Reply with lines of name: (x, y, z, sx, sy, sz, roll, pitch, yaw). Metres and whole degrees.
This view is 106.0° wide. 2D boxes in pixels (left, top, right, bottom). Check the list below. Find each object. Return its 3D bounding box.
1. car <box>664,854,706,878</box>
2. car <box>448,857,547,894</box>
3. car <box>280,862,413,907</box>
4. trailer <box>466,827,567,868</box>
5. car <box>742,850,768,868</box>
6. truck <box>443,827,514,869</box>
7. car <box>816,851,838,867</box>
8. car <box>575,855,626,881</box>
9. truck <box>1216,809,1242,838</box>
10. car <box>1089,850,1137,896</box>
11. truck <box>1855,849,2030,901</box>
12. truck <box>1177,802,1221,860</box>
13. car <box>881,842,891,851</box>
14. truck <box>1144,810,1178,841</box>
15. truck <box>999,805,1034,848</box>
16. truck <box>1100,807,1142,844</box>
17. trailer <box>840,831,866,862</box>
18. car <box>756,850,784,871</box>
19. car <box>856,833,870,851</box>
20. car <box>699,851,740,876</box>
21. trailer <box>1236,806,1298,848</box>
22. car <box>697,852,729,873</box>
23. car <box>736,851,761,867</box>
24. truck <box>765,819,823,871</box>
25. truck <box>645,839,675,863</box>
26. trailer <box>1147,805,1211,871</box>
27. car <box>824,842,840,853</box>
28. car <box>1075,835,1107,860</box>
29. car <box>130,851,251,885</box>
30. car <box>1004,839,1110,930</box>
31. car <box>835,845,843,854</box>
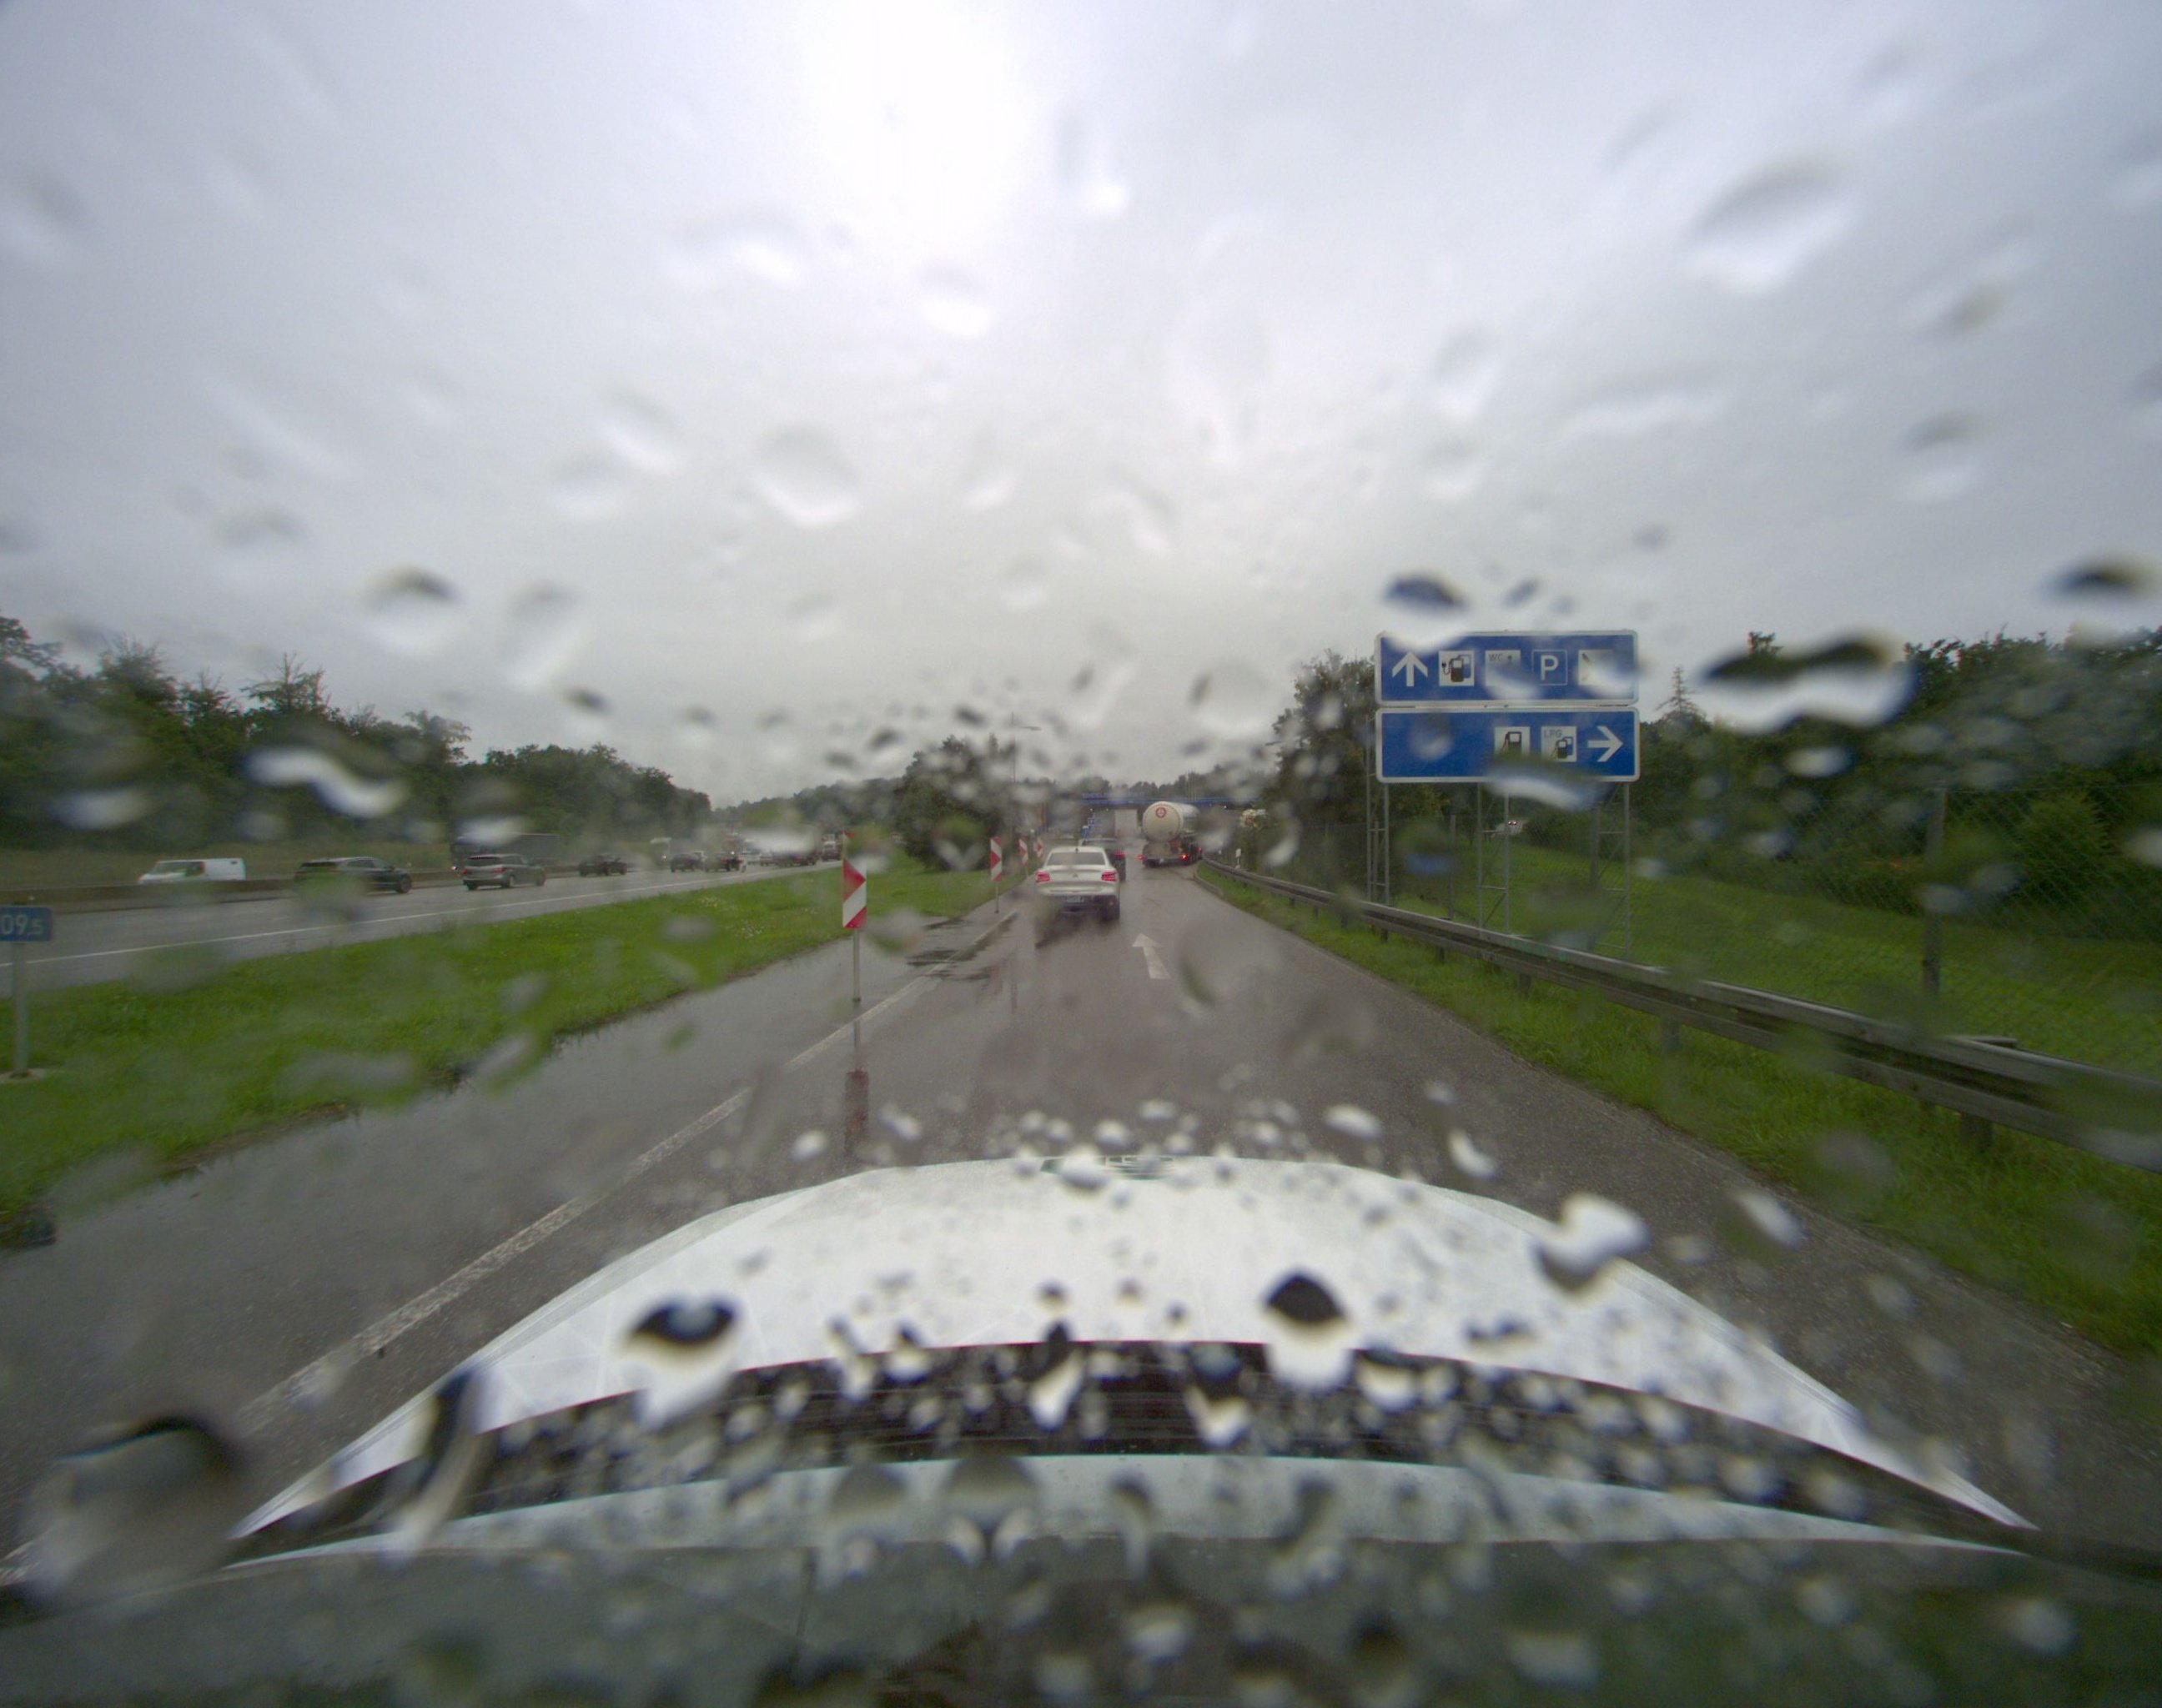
car: (-31.519, 0.957, 64.958, 1.775, 1.736, 4.088, -3, 1, -9)
car: (-26.985, 0.969, 37.882, 1.786, 1.526, 4.325, -2, 0, -6)
car: (-29.927, 1.196, 33.407, 1.716, 1.574, 4.450, -2, 0, -6)
trailer: (-56.765, -0.704, 82.540, 3.028, 3.811, 13.364, 0, 1, -10)
car: (-37.114, 0.540, 92.805, 1.994, 2.013, 3.986, 0, 0, -10)
truck: (-55.506, -0.593, 75.181, 3.042, 3.746, 5.626, 0, 1, -10)
car: (-29.972, 0.546, 96.164, 1.994, 1.816, 3.986, 0, 0, -10)
car: (-34.746, 0.980, 59.011, 1.775, 1.736, 4.087, -2, 0, -9)
truck: (19.895, -4.090, 109.735, 2.420, 3.805, 3.996, -2, 2, -3)
car: (1.303, 0.715, 32.446, 1.735, 1.667, 4.003, 1, 0, 3)
truck: (54.039, 1.202, 51.509, 2.812, 2.660, 8.280, 5, 2, 6)
truck: (7.617, -1.486, 52.324, 2.037, 3.530, 4.768, 0, 2, 17)
car: (-46.941, -1.813, 196.035, 1.998, 2.014, 3.978, 2, 0, -16)
truck: (11.168, -4.005, 115.031, 3.230, 4.187, 8.428, 0, 2, -6)
truck: (-6.224, -2.611, 78.027, 2.913, 3.903, 6.300, -1, 2, -8)
truck: (4.387, -3.182, 92.977, 2.369, 3.873, 12.422, -2, 2, -8)
trailer: (-36.505, -1.088, 130.577, 3.554, 4.612, 12.059, -2, 0, -14)
car: (-30.793, 0.630, 80.785, 1.789, 1.971, 4.319, -1, 0, -11)
car: (-42.853, -2.315, 160.177, 2.376, 3.485, 4.791, 2, 0, -14)
car: (-26.660, 0.695, 60.117, 1.775, 1.736, 3.835, -2, 0, -9)
trailer: (16.722, -2.448, 72.531, 2.111, 3.440, 10.319, 0, 2, 32)
car: (-38.042, 0.880, 84.375, 1.993, 2.013, 3.987, -2, 0, -10)
car: (-42.596, 0.622, 104.407, 1.994, 2.013, 3.986, -2, 0, -10)
truck: (-25.683, -0.734, 73.570, 2.849, 4.292, 11.802, -2, 0, -10)
truck: (-67.164, -0.499, 129.975, 2.714, 3.533, 4.748, 3, 1, -9)
trailer: (5.666, -0.956, 45.387, 1.965, 3.224, 10.365, 0, 2, 16)
car: (-43.450, -1.162, 142.023, 1.992, 1.816, 3.990, 1, 0, -8)
car: (0.562, -0.412, 49.947, 1.873, 1.461, 3.999, 0, 1, -1)
car: (-51.278, 0.760, 47.078, 1.992, 1.835, 4.912, 1, 0, -8)
car: (-0.409, 0.588, 17.715, 1.986, 1.679, 4.001, -2, 0, 1)
car: (-57.574, -1.108, 193.493, 1.677, 2.014, 3.977, 5, -2, -16)
